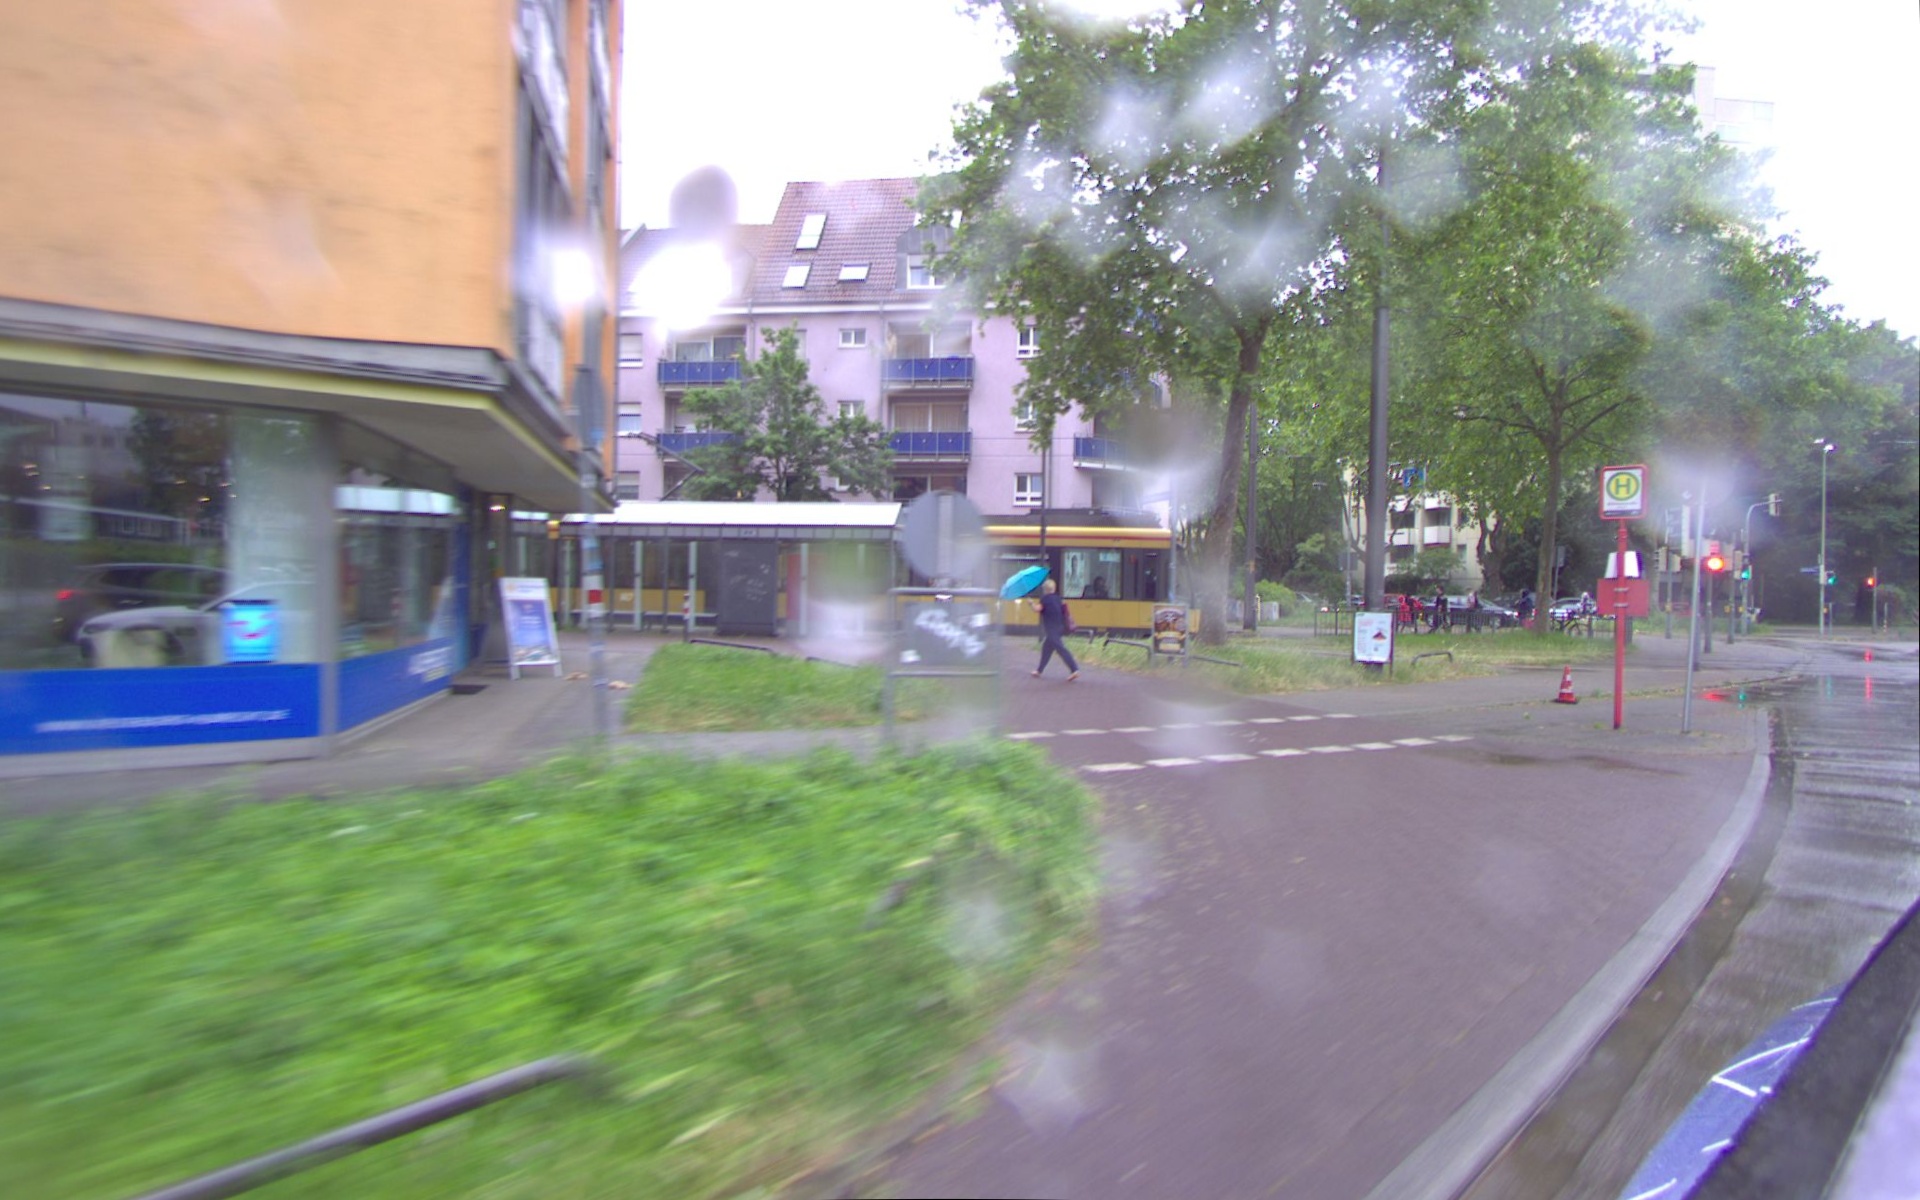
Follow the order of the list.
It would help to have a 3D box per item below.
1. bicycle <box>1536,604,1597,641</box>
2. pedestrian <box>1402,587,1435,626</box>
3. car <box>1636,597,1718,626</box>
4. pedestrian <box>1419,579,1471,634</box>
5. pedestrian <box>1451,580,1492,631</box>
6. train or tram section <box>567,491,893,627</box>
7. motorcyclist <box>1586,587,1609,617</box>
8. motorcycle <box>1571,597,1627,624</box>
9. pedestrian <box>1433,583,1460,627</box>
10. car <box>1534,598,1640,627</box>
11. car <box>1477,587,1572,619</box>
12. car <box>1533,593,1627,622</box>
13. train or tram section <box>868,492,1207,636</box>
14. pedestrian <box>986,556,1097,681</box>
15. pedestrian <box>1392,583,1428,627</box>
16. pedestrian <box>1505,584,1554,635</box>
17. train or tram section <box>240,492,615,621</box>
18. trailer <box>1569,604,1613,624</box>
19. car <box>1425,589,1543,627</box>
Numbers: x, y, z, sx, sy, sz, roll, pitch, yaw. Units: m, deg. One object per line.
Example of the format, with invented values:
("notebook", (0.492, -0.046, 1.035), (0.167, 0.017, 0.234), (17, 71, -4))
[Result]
("bicycle", (18.841, 0.679, 31.453), (1.605, 1.090, 0.441), (1, 0, 31))
("pedestrian", (16.869, 0.243, 37.226), (0.997, 1.399, 0.669), (1, 0, 19))
("car", (40.792, 0.614, 57.623), (1.808, 1.544, 3.458), (1, 0, -38))
("pedestrian", (16.412, 0.204, 34.247), (1.019, 1.811, 1.235), (1, 0, -39))
("pedestrian", (18.617, 0.213, 36.832), (0.796, 1.803, 0.995), (1, 1, -34))
("train or tram section", (-6.137, -1.115, 27.455), (8.239, 3.393, 2.639), (1, 0, 9))
("motorcyclist", (29.965, 0.101, 47.578), (0.745, 1.368, 0.753), (1, 0, -41))
("motorcycle", (29.982, 0.475, 47.514), (0.866, 1.230, 2.071), (1, 0, -41))
("pedestrian", (17.534, 0.172, 36.474), (0.752, 1.567, 0.688), (2, 1, 21))
("car", (30.972, 0.584, 50.076), (4.160, 1.291, 1.873), (1, 0, 45))
("car", (31.813, 0.169, 57.045), (4.507, 1.685, 1.878), (1, 0, -12))
("car", (37.682, 0.426, 61.609), (1.904, 1.628, 4.455), (1, 0, -36))
("train or tram section", (1.990, -0.942, 26.033), (8.241, 3.412, 2.638), (1, 0, 10))
("pedestrian", (1.311, 0.259, 16.217), (1.375, 1.888, 1.161), (2, 1, 32))
("pedestrian", (16.349, 0.165, 36.782), (1.051, 1.545, 0.873), (1, 0, 18))
("pedestrian", (19.869, 0.327, 35.309), (0.975, 1.707, 1.058), (1, 1, -23))
("train or tram section", (-15.056, -1.245, 28.795), (9.823, 3.393, 2.639), (1, 0, 10))
("trailer", (29.241, 0.638, 46.895), (1.009, 0.852, 1.481), (1, 0, -40))
("car", (22.890, 0.327, 44.291), (1.961, 1.479, 4.168), (1, 1, -43))
